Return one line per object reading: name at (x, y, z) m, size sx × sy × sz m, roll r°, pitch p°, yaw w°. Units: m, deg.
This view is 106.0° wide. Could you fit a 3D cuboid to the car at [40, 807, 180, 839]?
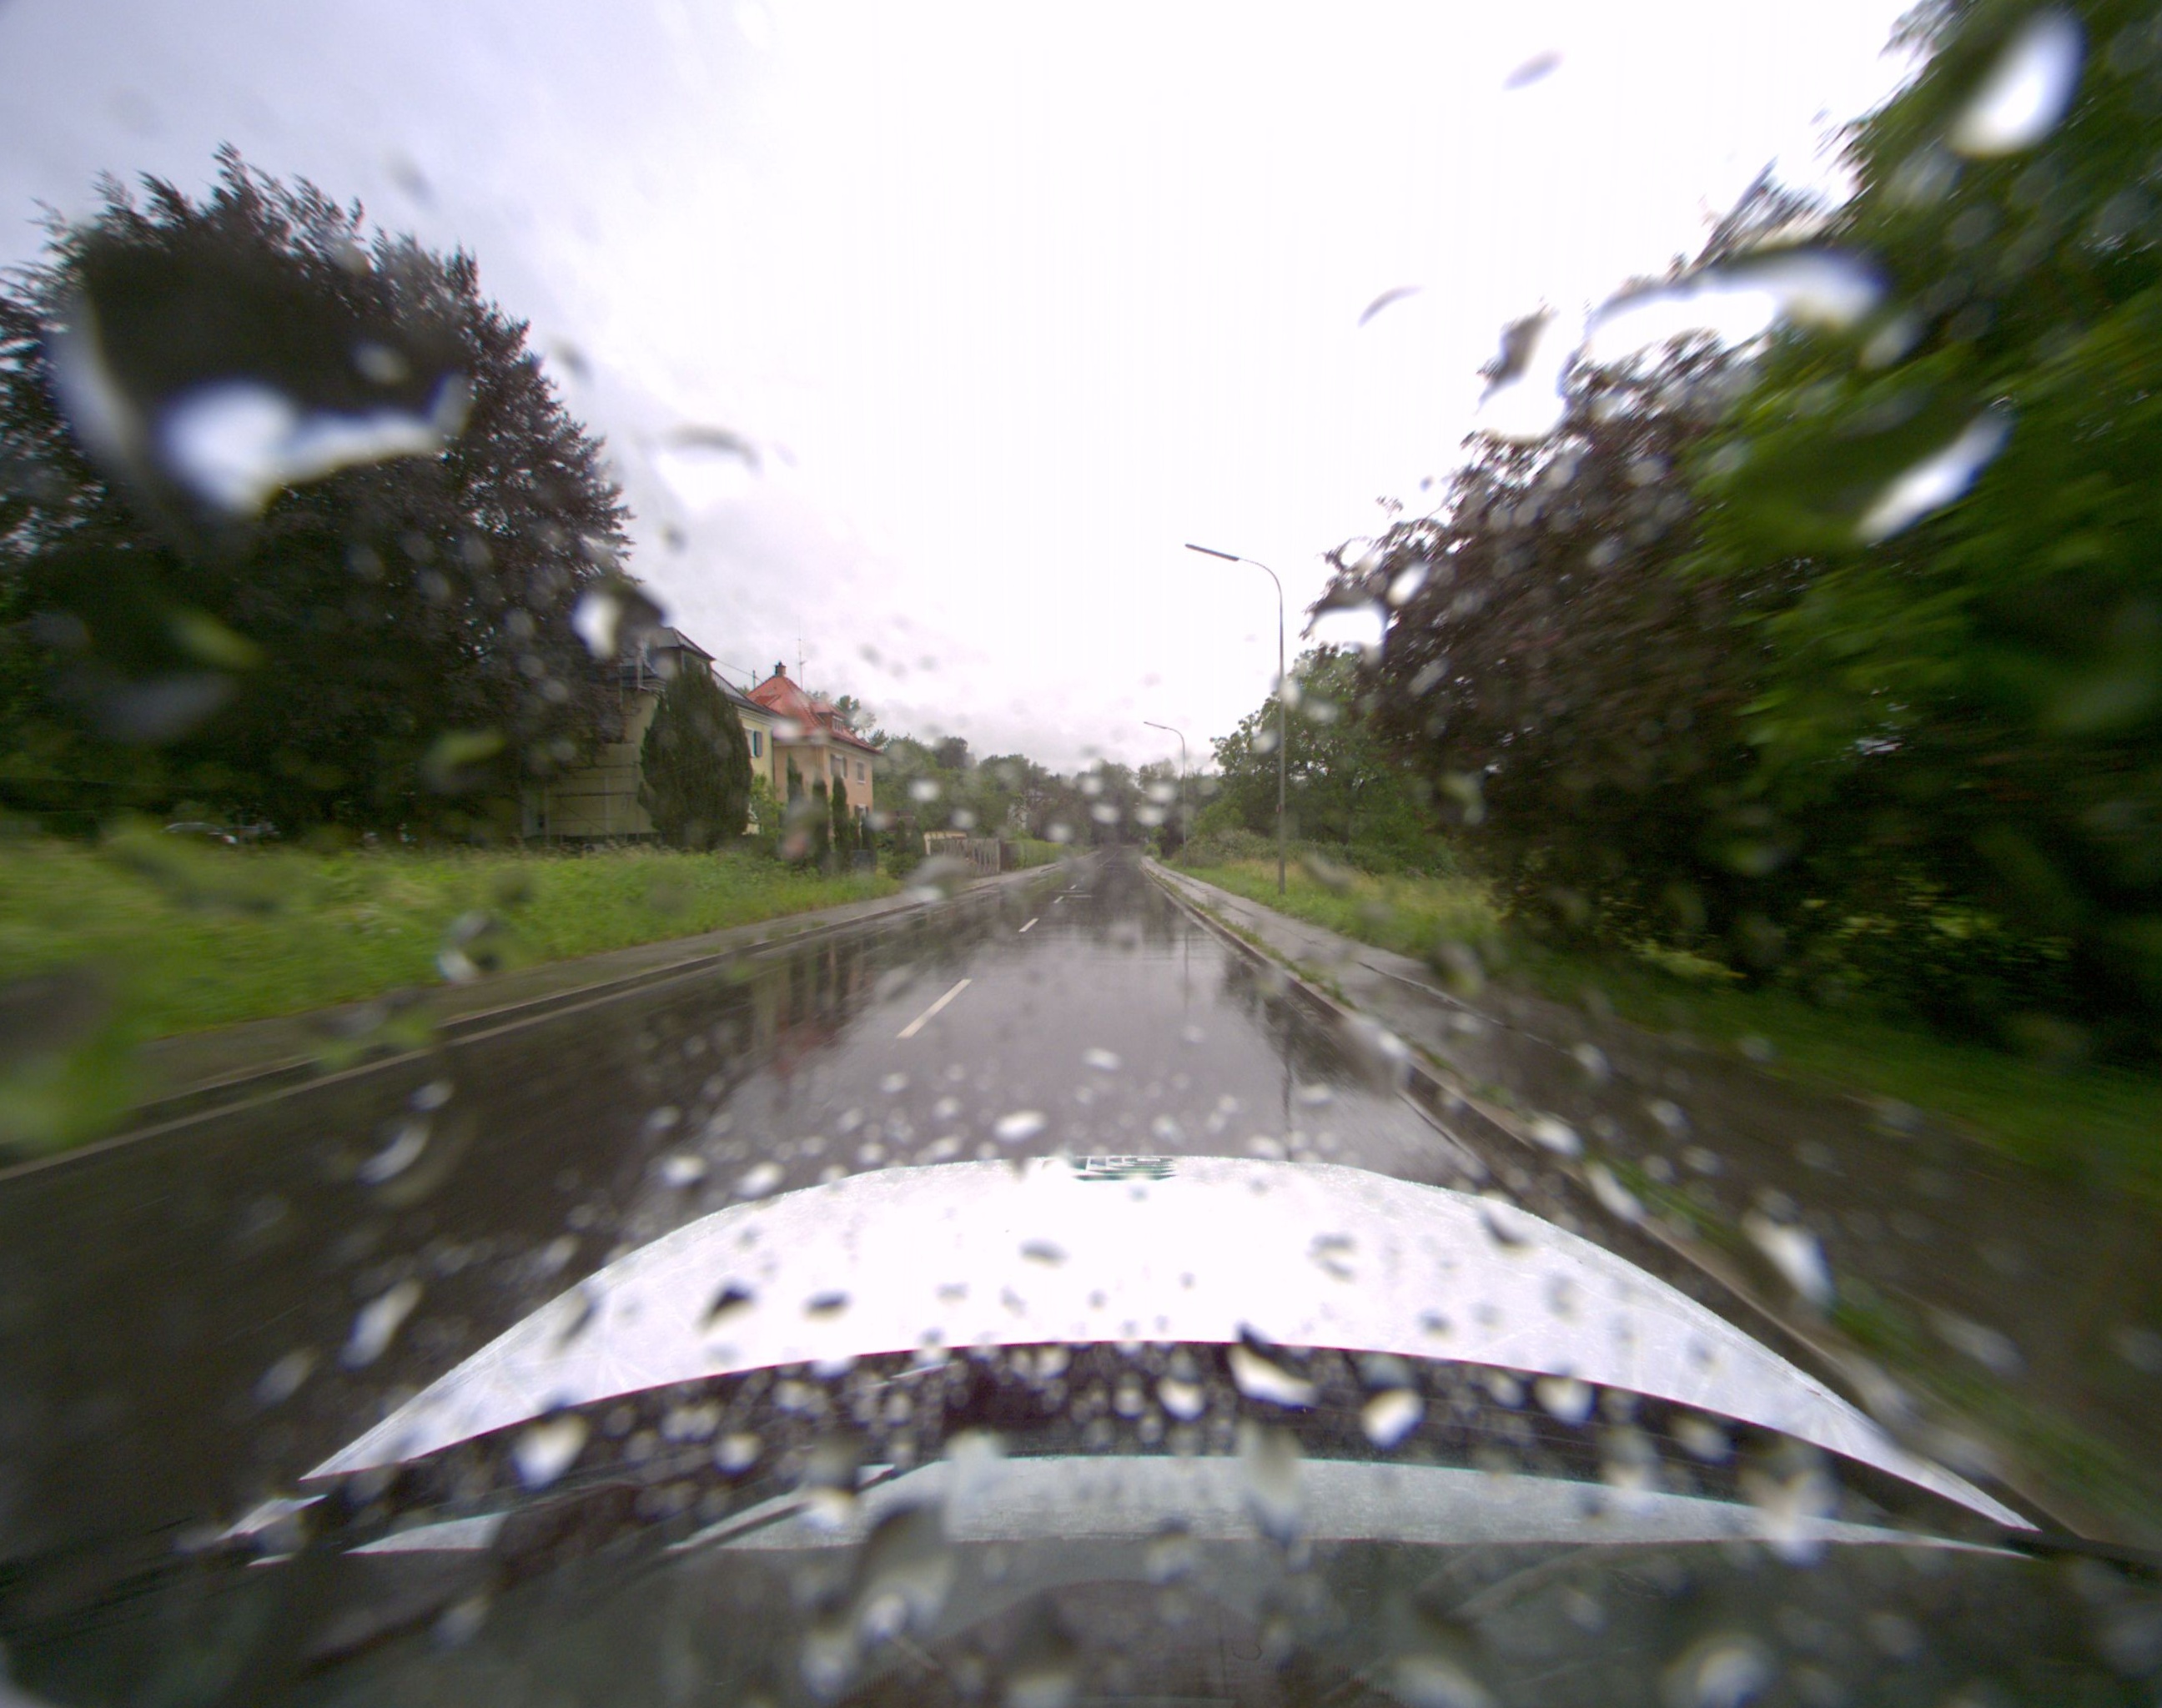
car at (-44.389, -1.409, 37.330) m, size 1.781 × 1.409 × 3.672 m, roll 0°, pitch 2°, yaw 16°
